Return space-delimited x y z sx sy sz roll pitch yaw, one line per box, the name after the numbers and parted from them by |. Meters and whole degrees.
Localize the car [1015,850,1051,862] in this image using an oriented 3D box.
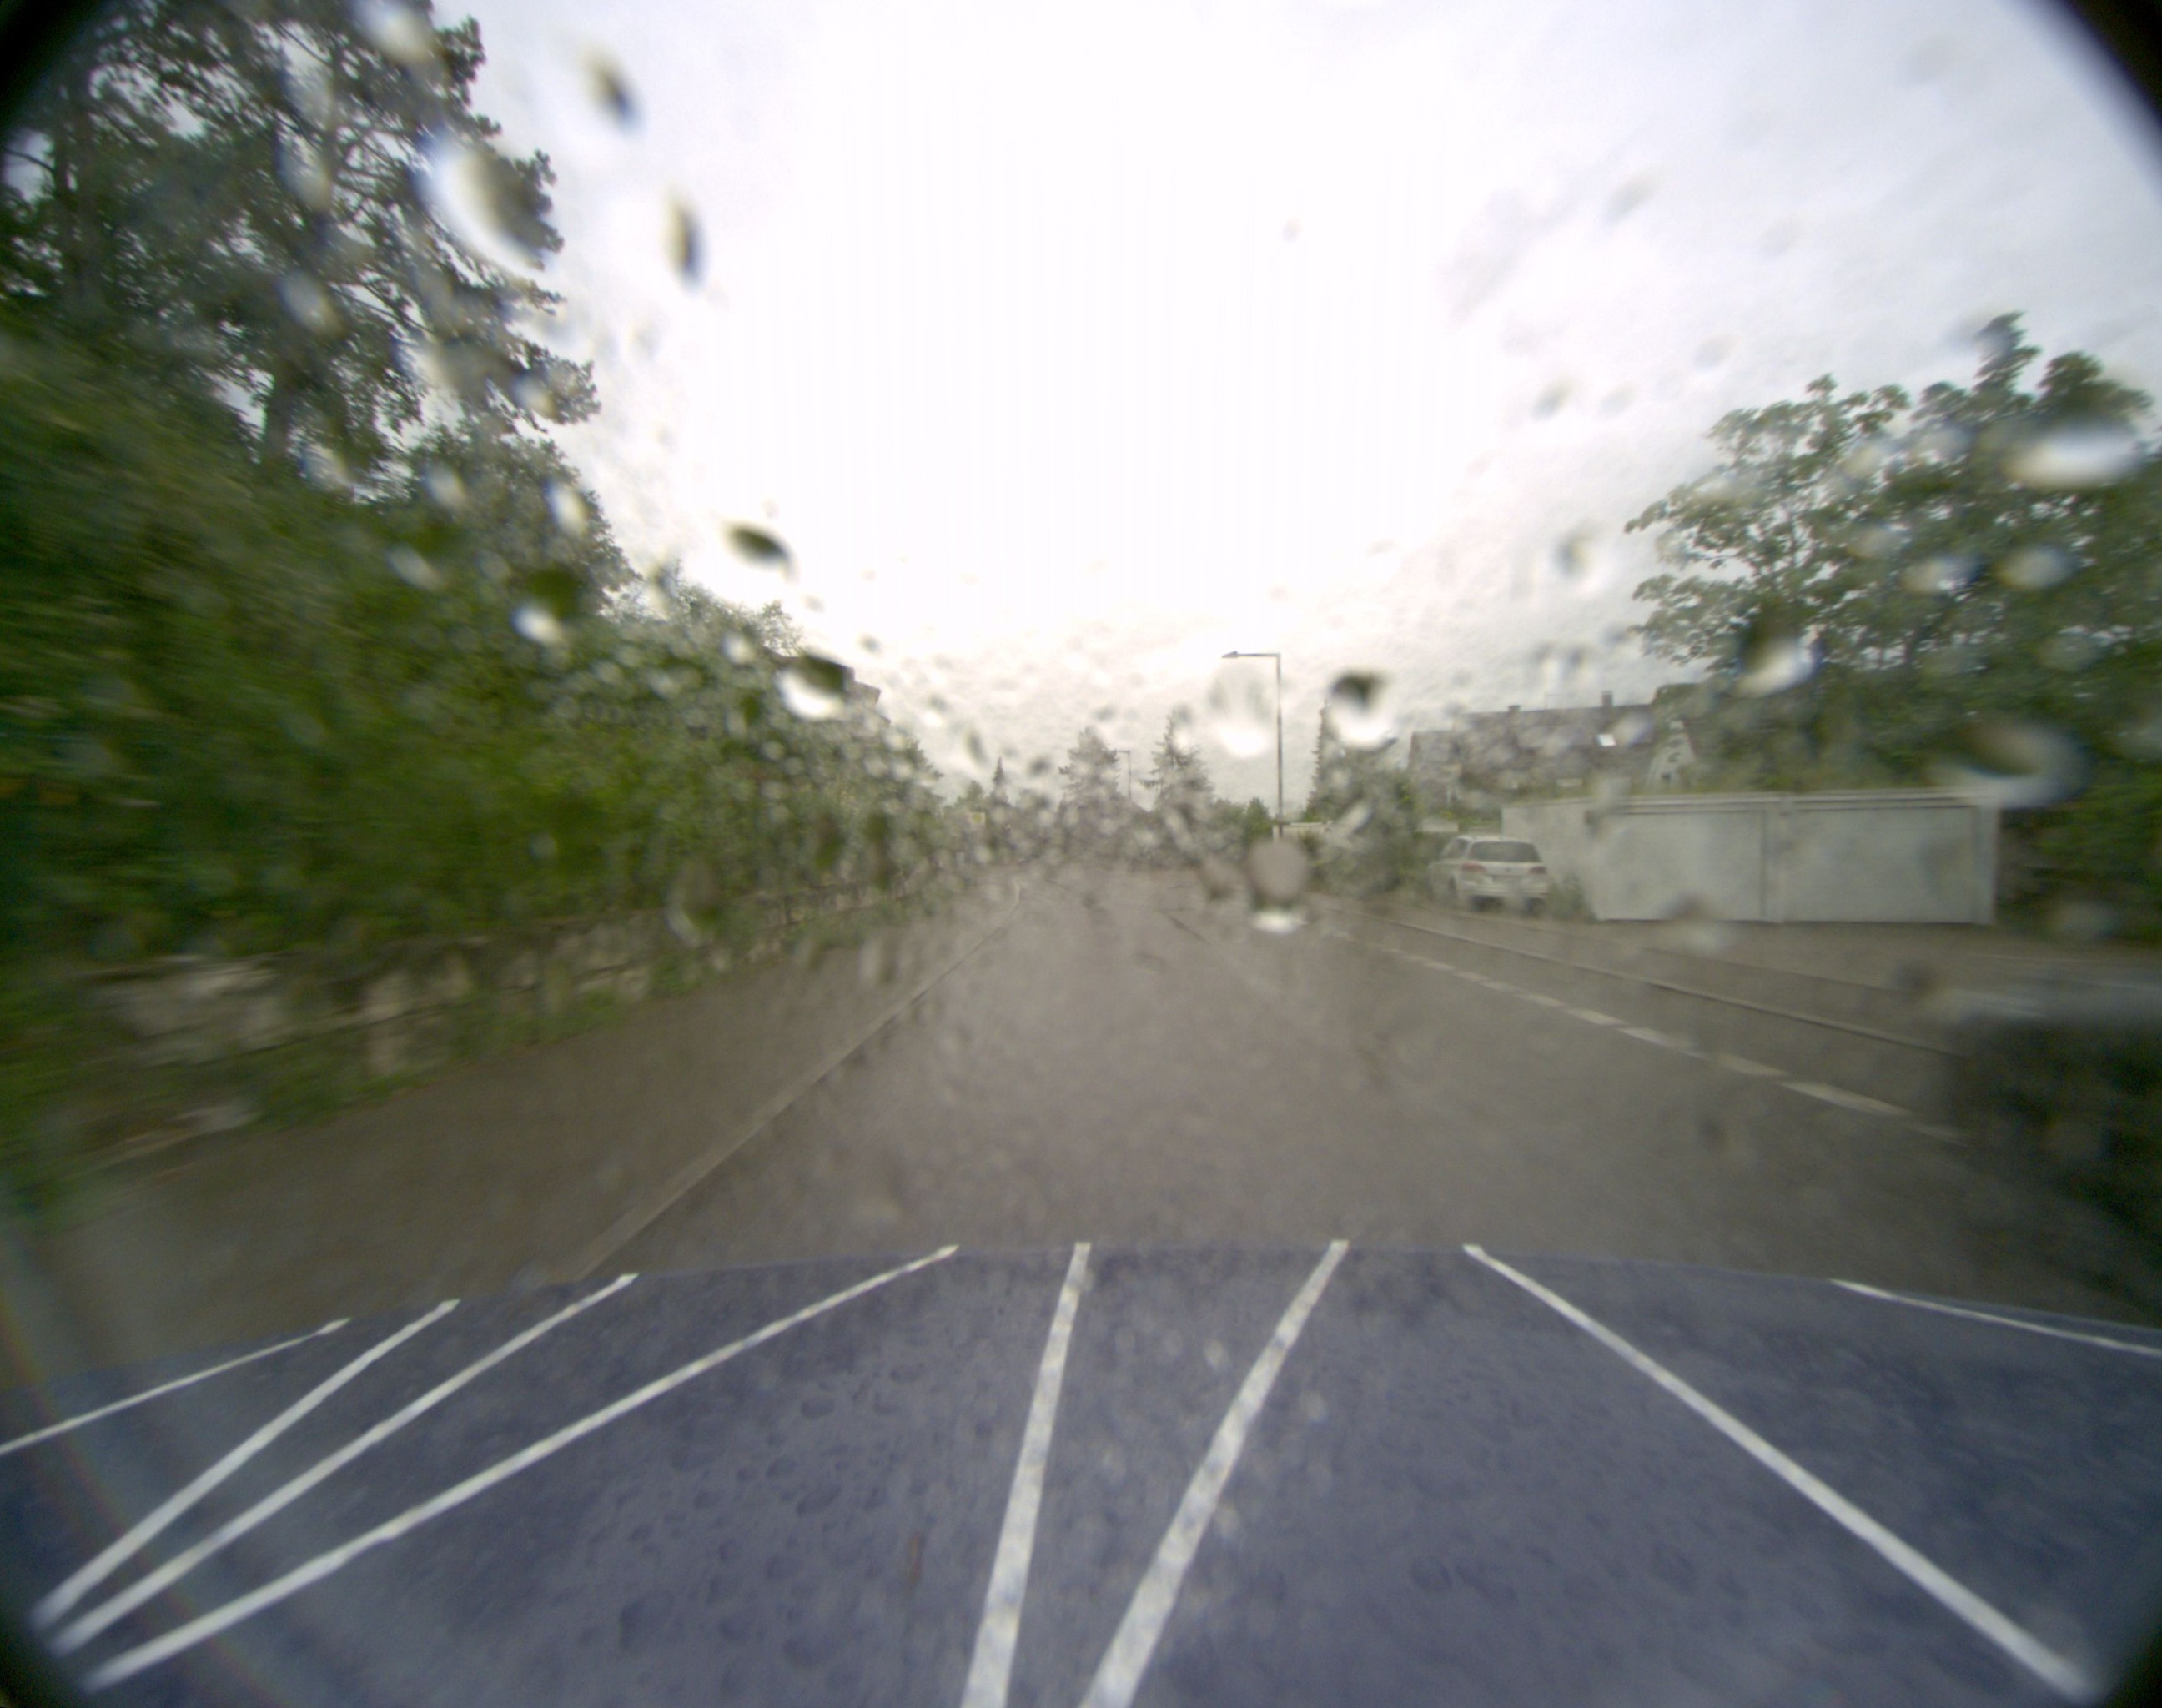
-5.866 0.217 92.802 4.002 1.264 1.871 -3 1 -16 | car

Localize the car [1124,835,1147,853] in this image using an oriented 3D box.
5.108 -0.918 71.242 1.998 1.565 4.000 -2 1 2 | car

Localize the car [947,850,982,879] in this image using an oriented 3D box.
-6.291 0.551 40.707 1.711 1.445 4.016 1 0 -11 | car

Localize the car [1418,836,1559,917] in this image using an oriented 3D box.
8.959 0.415 17.102 1.707 1.544 4.393 -2 1 14 | car

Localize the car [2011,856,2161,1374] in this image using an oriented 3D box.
3.987 0.732 0.643 1.855 1.461 3.699 -2 1 0 | car

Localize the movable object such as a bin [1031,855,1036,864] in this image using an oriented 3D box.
-5.257 0.626 83.534 0.372 0.982 0.557 -2 1 -22 | movable object such as a bin
